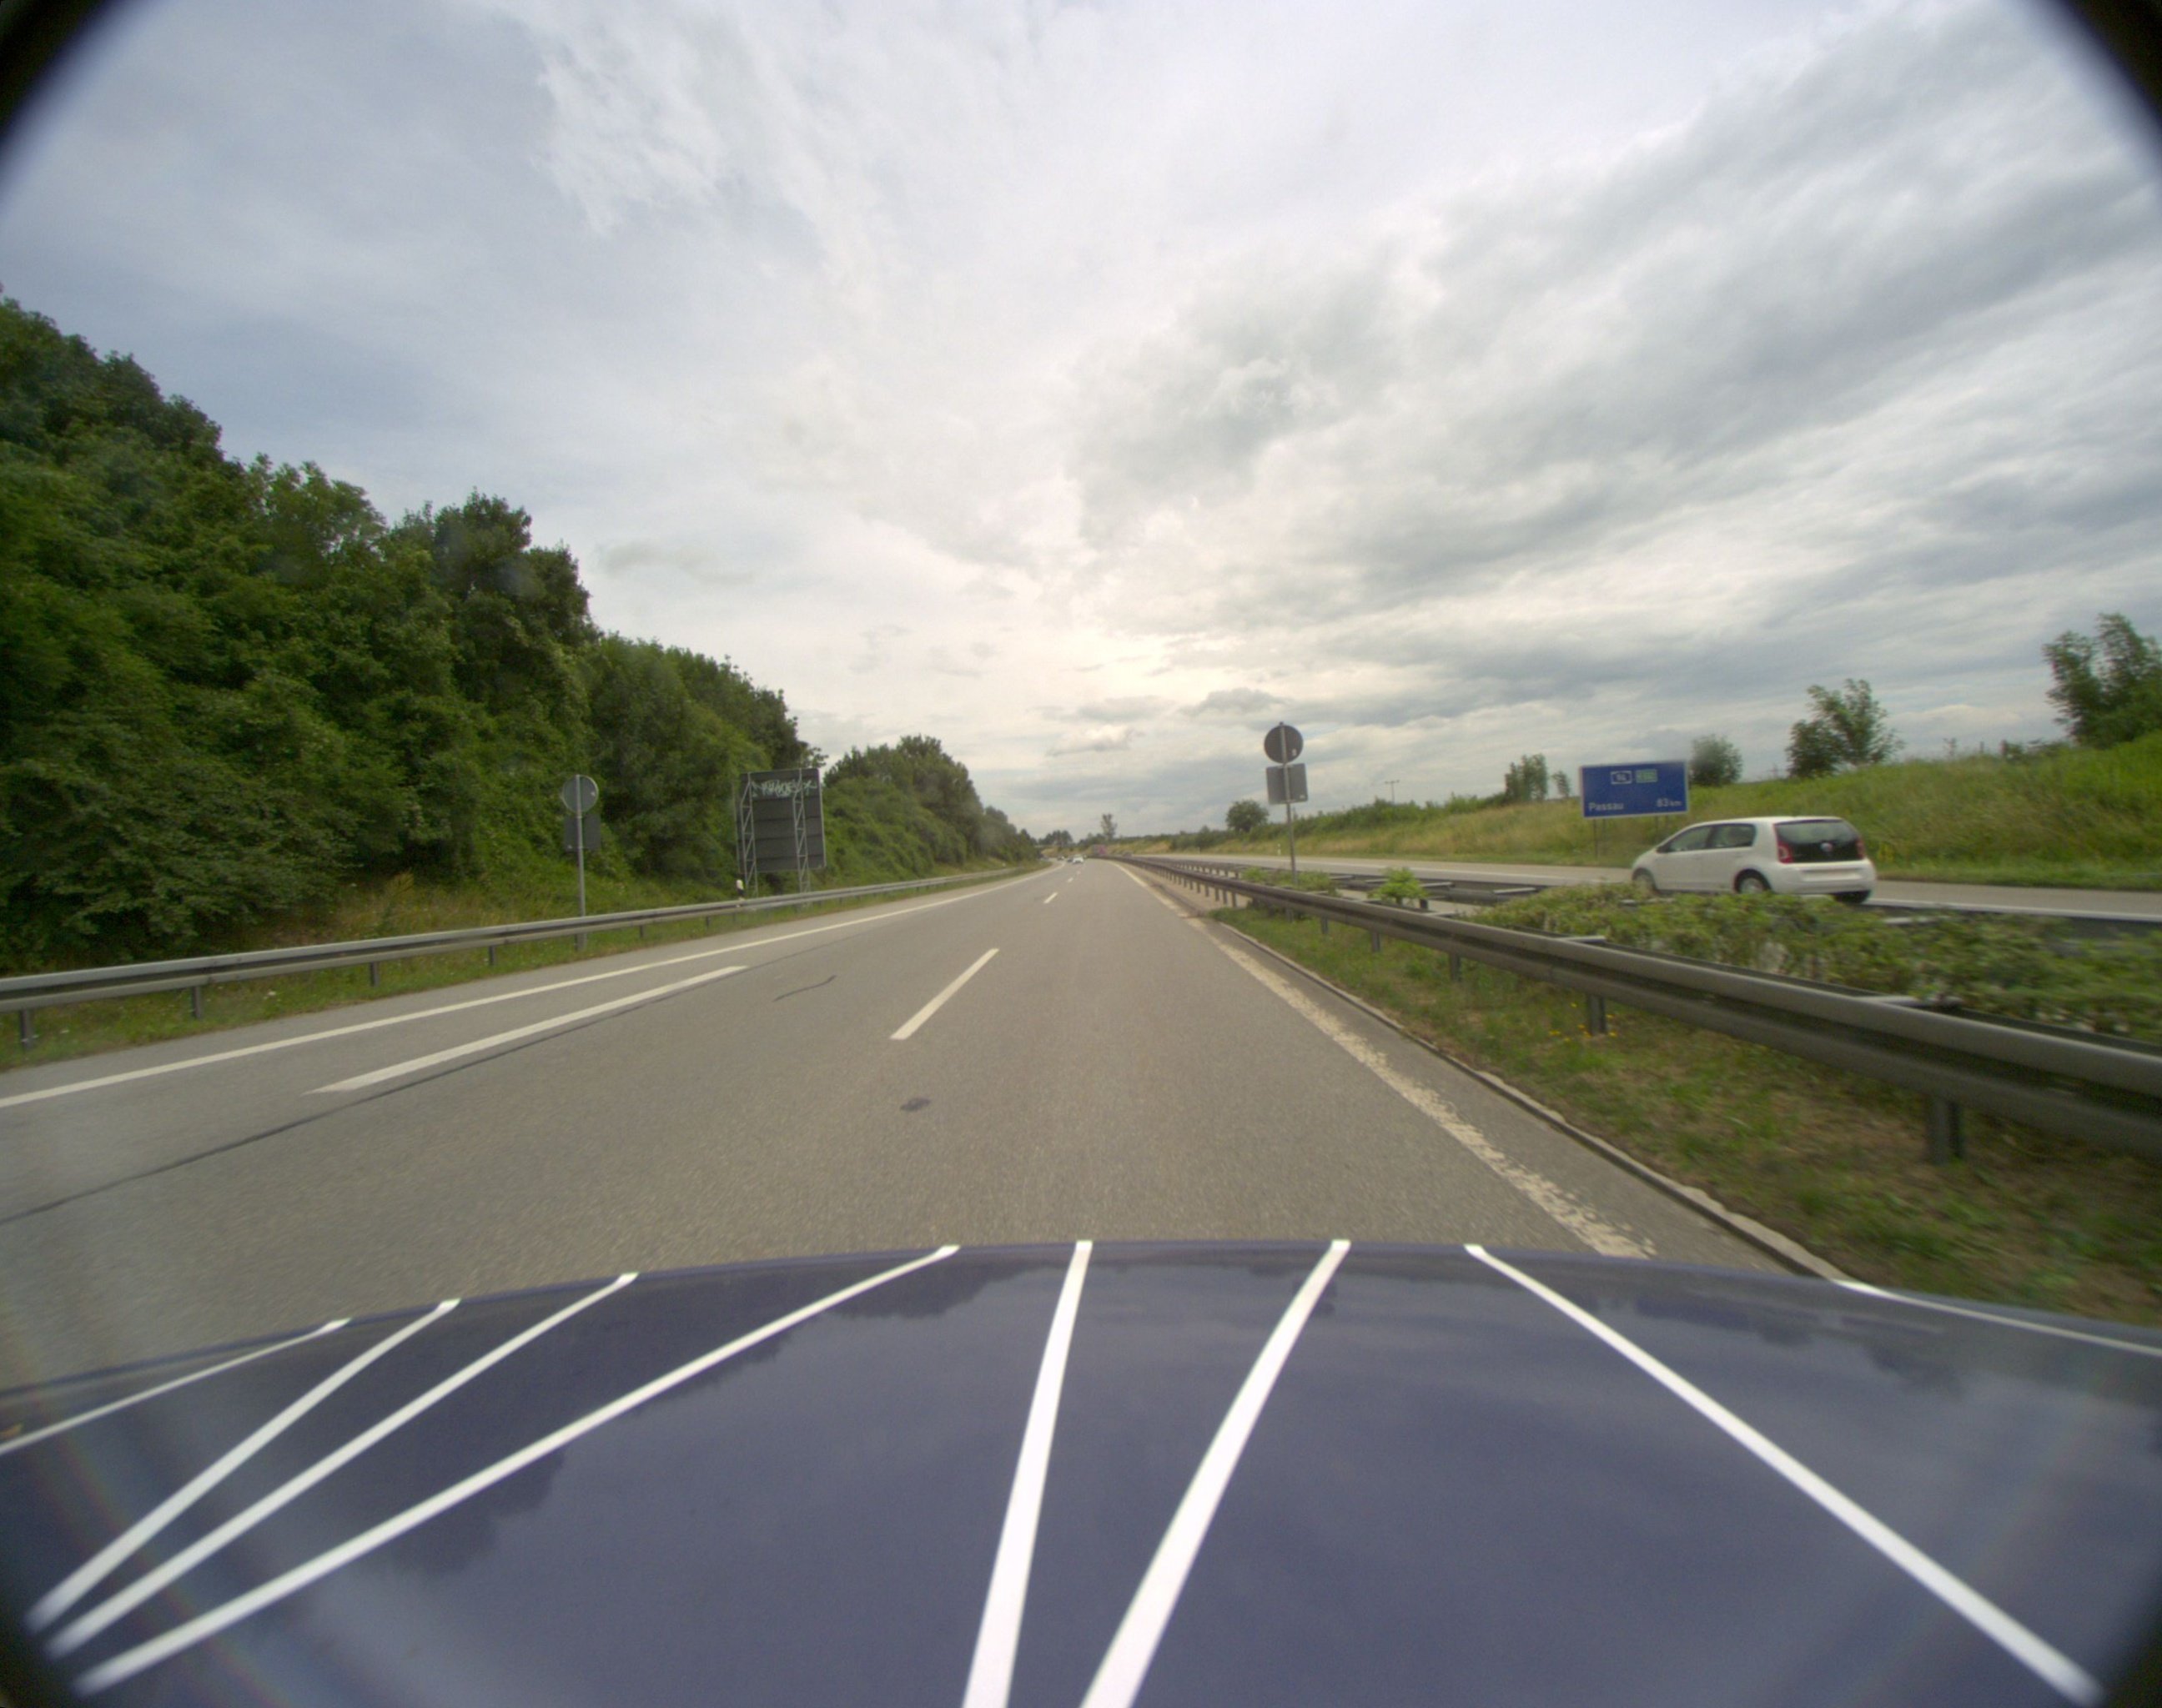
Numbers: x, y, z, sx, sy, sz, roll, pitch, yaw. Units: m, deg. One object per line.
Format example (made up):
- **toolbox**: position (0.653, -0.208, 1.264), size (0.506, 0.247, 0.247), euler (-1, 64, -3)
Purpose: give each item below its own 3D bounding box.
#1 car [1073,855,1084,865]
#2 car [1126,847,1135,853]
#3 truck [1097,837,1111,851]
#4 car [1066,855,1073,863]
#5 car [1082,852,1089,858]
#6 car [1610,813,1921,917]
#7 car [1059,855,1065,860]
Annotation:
- **car**: position (-0.435, 1.055, 132.826), size (1.775, 1.813, 4.166), euler (0, 0, 1)
- **car**: position (11.173, -0.916, 170.947), size (1.709, 1.344, 4.938), euler (-5, 0, 0)
- **truck**: position (7.922, -3.364, 259.937), size (3.339, 4.146, 13.673), euler (-5, 1, -3)
- **car**: position (-2.617, 1.069, 171.637), size (1.649, 1.686, 4.736), euler (-3, 0, -1)
- **car**: position (1.225, 0.240, 198.740), size (1.775, 1.474, 4.696), euler (-1, 1, -1)
- **car**: position (11.548, 0.141, 13.312), size (1.654, 1.483, 4.282), euler (-2, 1, 2)
- **car**: position (-5.973, 1.086, 236.315), size (1.509, 1.474, 4.036), euler (-5, 1, -6)
